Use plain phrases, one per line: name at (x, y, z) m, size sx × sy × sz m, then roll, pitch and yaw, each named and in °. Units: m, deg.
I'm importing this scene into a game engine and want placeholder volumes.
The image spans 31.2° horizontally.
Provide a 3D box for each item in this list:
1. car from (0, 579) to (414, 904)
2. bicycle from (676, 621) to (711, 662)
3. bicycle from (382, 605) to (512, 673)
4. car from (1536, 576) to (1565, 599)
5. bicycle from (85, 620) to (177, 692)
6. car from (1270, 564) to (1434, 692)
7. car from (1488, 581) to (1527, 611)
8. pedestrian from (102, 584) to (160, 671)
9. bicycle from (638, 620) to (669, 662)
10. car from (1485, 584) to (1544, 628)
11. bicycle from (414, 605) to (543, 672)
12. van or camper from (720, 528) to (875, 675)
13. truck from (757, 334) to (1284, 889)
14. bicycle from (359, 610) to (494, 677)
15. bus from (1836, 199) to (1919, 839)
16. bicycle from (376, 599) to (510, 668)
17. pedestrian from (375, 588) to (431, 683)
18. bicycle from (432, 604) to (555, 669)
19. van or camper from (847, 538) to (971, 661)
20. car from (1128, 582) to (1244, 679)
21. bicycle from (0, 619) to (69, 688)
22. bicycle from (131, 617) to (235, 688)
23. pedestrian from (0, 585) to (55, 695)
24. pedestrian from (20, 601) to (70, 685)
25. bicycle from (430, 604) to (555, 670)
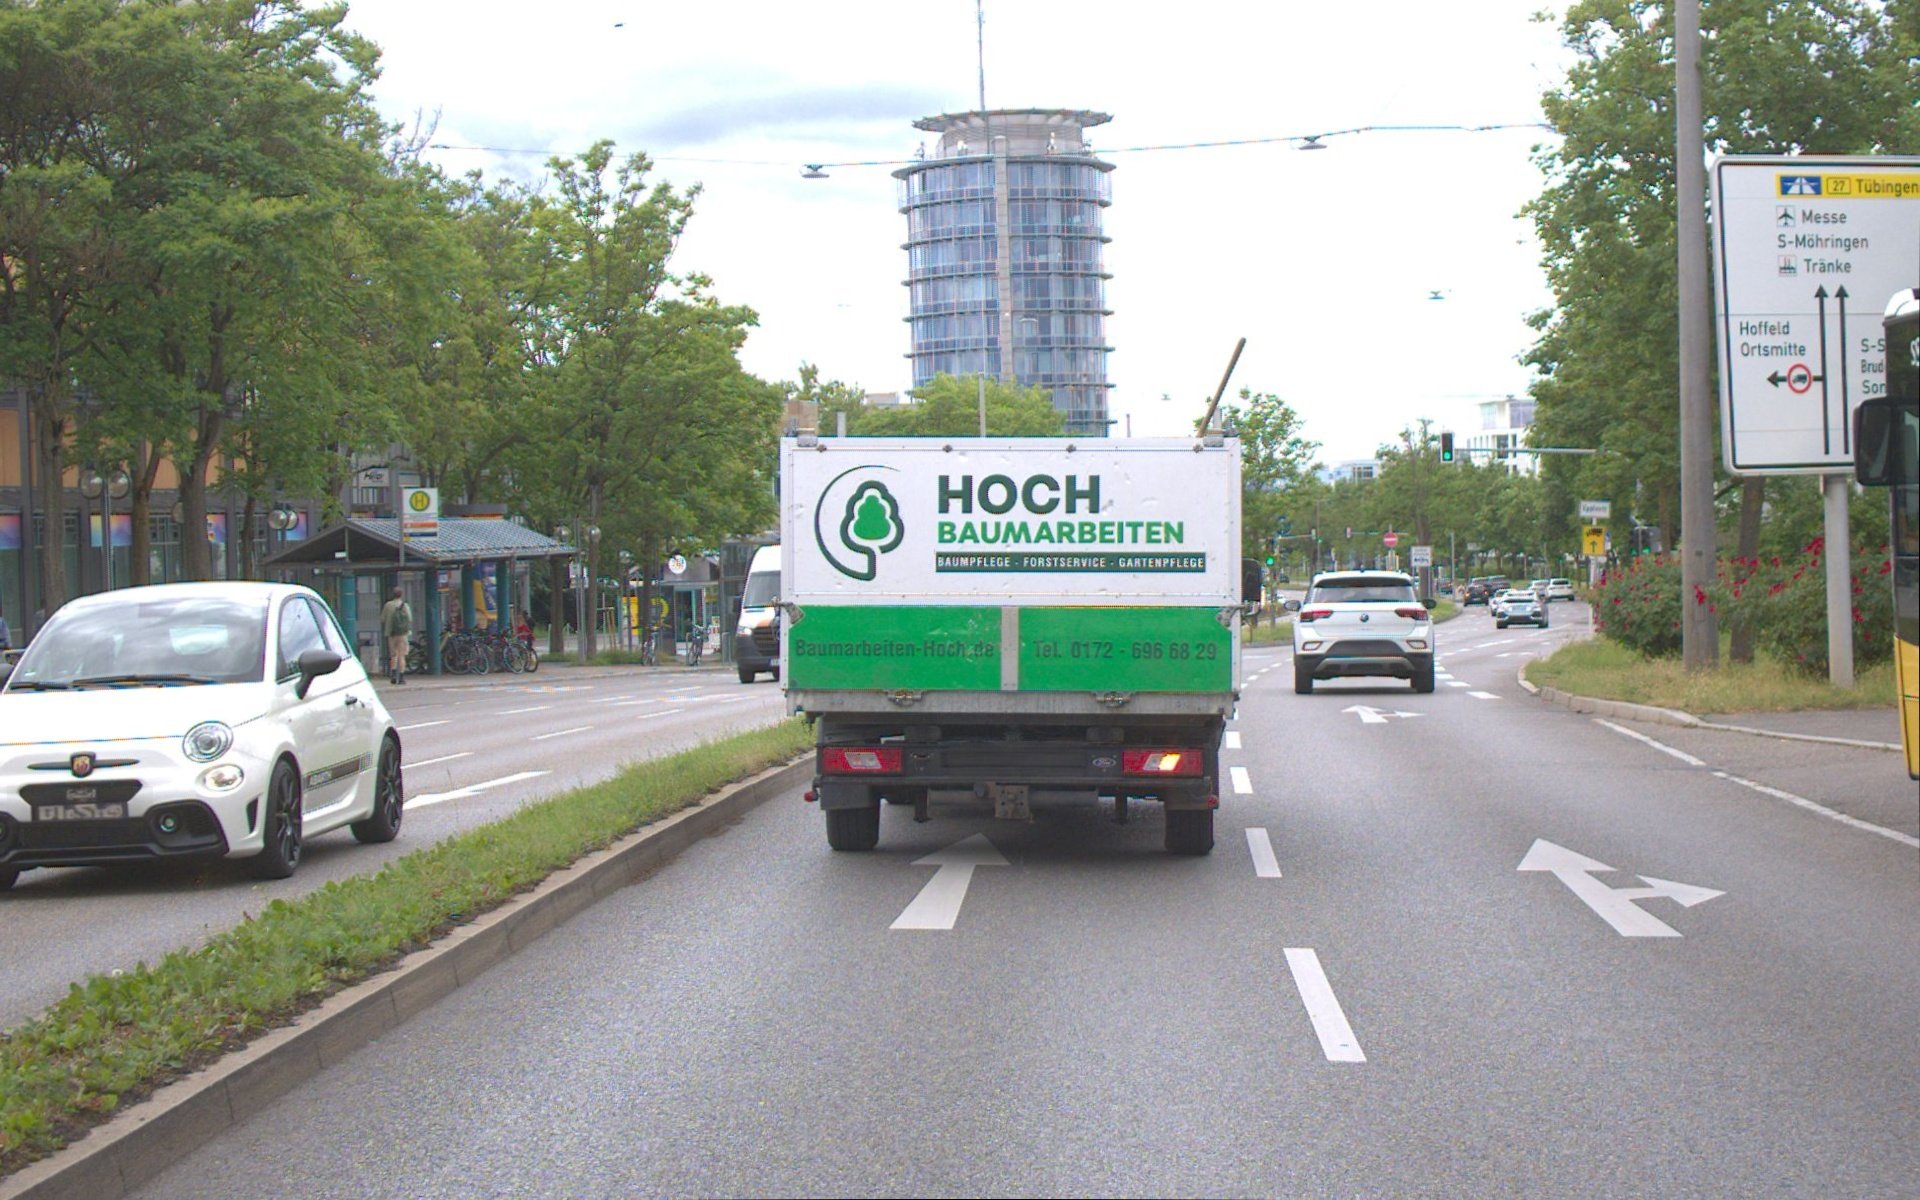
car at (-4.021, 0.658, 17.975) m, size 1.588 × 1.497 × 3.718 m, roll -1°, pitch 0°, yaw 2°
bicycle at (-7.329, 1.145, 94.669) m, size 0.830 × 1.080 × 1.936 m, roll -2°, pitch 0°, yaw -1°
bicycle at (-12.133, 0.918, 81.336) m, size 2.899 × 1.501 × 0.805 m, roll -2°, pitch 0°, yaw 4°
car at (41.999, -0.867, 244.665) m, size 1.994 × 1.547 × 3.998 m, roll -2°, pitch 0°, yaw 9°
bicycle at (-14.172, 0.950, 58.831) m, size 0.603 × 1.157 × 1.964 m, roll -2°, pitch 0°, yaw 16°
car at (5.078, 0.322, 45.065) m, size 1.868 × 1.500 × 4.773 m, roll -1°, pitch 1°, yaw 4°
car at (29.803, -0.228, 187.028) m, size 1.994 × 1.547 × 3.998 m, roll -2°, pitch 0°, yaw 9°
pedestrian at (-16.419, 0.538, 68.072) m, size 0.775 × 1.710 × 0.785 m, roll 1°, pitch 0°, yaw 30°
bicycle at (-8.438, 1.122, 94.761) m, size 0.713 × 1.133 × 1.957 m, roll -2°, pitch 0°, yaw -2°
car at (20.687, 0.237, 128.445) m, size 1.994 × 1.547 × 3.999 m, roll -2°, pitch 0°, yaw 7°
bicycle at (-11.469, 0.914, 81.979) m, size 2.899 × 1.501 × 0.805 m, roll -2°, pitch 0°, yaw 4°
van or camper at (-3.064, 0.014, 66.097) m, size 1.994 × 2.589 × 6.115 m, roll -3°, pitch 0°, yaw 5°
truck at (0.516, 0.003, 19.508) m, size 2.471 × 2.602 × 6.547 m, roll 0°, pitch 1°, yaw 4°
bicycle at (-12.174, 0.981, 78.552) m, size 2.899 × 1.501 × 0.972 m, roll 0°, pitch 0°, yaw 4°
bus at (6.264, -0.348, 13.950) m, size 2.982 × 3.230 × 9.865 m, roll 2°, pitch 1°, yaw 1°
bicycle at (-11.961, 0.774, 79.587) m, size 2.899 × 1.501 × 0.891 m, roll -2°, pitch 0°, yaw 4°
pedestrian at (-10.799, 0.689, 66.699) m, size 0.704 × 1.816 × 1.213 m, roll 0°, pitch -1°, yaw 9°
bicycle at (-11.491, 0.896, 84.635) m, size 2.899 × 1.501 × 0.598 m, roll -2°, pitch 0°, yaw 4°
van or camper at (-1.119, -0.028, 78.333) m, size 2.032 × 2.589 × 6.115 m, roll -3°, pitch 0°, yaw 5°
car at (3.912, 0.489, 59.070) m, size 1.868 × 1.500 × 4.772 m, roll -1°, pitch 1°, yaw 4°
bicycle at (-16.673, 0.944, 60.083) m, size 2.013 × 1.157 × 0.674 m, roll -2°, pitch 0°, yaw -39°
bicycle at (-13.599, 0.915, 60.178) m, size 0.604 × 1.157 × 1.685 m, roll -2°, pitch 0°, yaw 43°
pedestrian at (-14.728, 0.619, 53.994) m, size 0.775 × 1.707 × 0.706 m, roll 1°, pitch 0°, yaw 7°
pedestrian at (-18.976, 0.889, 71.292) m, size 0.770 × 1.710 × 0.789 m, roll 1°, pitch 0°, yaw 4°
bicycle at (-11.374, 0.903, 83.701) m, size 2.899 × 1.501 × 0.700 m, roll -2°, pitch 0°, yaw 4°
